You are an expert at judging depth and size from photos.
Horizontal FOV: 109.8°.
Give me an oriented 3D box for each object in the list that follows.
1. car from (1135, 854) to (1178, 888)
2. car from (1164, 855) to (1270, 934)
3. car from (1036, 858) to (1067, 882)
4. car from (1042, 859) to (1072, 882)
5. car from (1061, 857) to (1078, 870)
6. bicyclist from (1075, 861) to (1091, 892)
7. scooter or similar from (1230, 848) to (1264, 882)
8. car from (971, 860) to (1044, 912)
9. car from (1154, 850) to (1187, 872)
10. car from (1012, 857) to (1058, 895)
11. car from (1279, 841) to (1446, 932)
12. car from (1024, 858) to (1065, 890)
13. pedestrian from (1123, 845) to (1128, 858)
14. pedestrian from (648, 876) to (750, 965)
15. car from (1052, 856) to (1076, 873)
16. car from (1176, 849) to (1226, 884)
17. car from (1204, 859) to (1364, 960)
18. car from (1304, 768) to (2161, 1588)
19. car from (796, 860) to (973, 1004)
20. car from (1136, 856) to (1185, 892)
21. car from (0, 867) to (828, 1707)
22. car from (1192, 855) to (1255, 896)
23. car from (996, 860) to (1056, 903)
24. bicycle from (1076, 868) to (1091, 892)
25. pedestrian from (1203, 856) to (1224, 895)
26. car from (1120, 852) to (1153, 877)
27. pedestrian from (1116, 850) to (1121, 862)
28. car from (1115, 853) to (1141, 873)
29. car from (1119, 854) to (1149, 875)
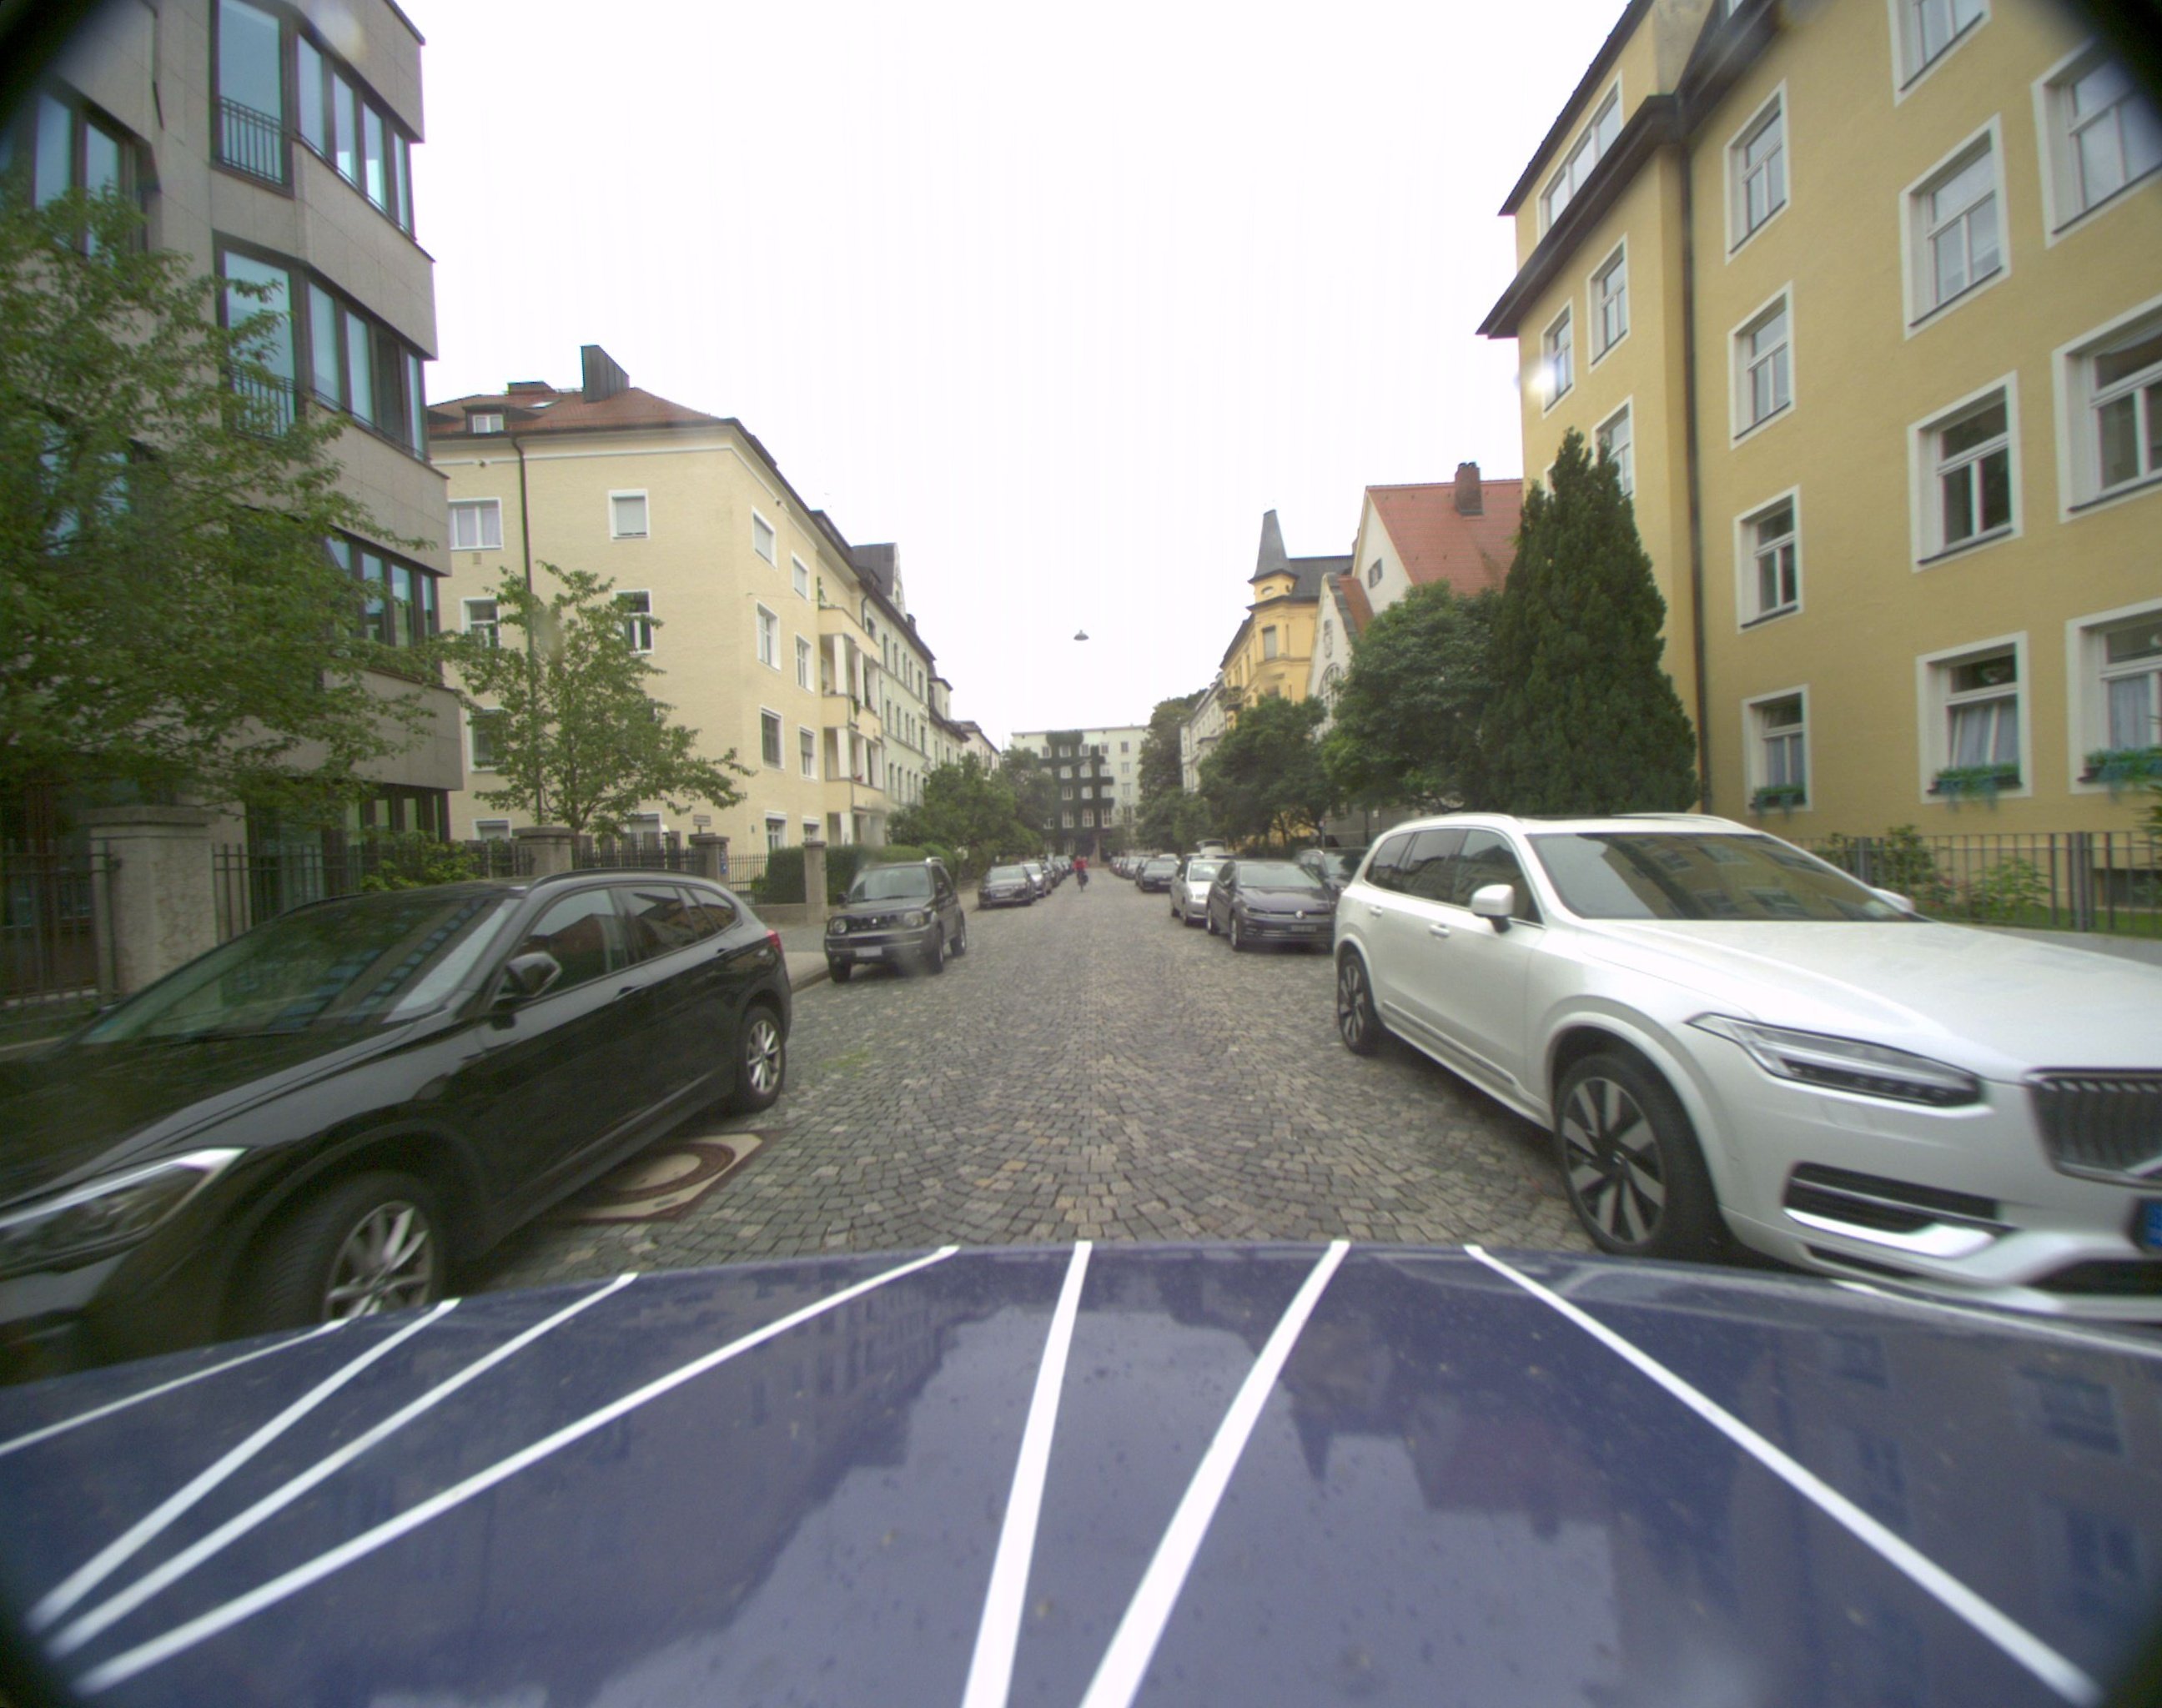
[{"bbox_3d":[3.732,0.814,38.359,1.744,1.594,4.537,-1,0,0],"label":"car"},{"bbox_3d":[2.993,0.825,17.600,1.718,1.553,4.390,-1,0,1],"label":"car"},{"bbox_3d":[-2.029,1.118,53.921,1.760,1.451,4.480,-5,0,2],"label":"car"},{"bbox_3d":[-1.832,1.227,59.597,1.909,1.494,5.105,-5,0,2],"label":"car"},{"bbox_3d":[-1.275,1.043,85.646,1.744,1.367,4.182,-1,0,1],"label":"car"},{"bbox_3d":[0.108,1.021,34.939,0.648,1.350,0.656,-4,1,0],"label":"bicyclist"},{"bbox_3d":[8.011,0.506,36.786,1.064,1.514,2.635,-2,0,1],"label":"scooter or similar"},{"bbox_3d":[-2.606,1.100,28.175,1.998,1.543,5.014,-5,0,1],"label":"car"},{"bbox_3d":[6.392,0.482,54.791,1.846,1.457,4.389,-4,0,1],"label":"car"},{"bbox_3d":[-2.238,1.076,38.332,1.898,1.644,4.294,-4,0,1],"label":"car"},{"bbox_3d":[5.619,0.578,15.875,1.719,1.489,4.721,-5,0,1],"label":"car"},{"bbox_3d":[-2.036,1.096,43.533,1.823,1.480,5.050,-5,0,2],"label":"car"},{"bbox_3d":[6.870,-0.341,117.242,0.665,1.905,0.863,-4,1,9],"label":"pedestrian"},{"bbox_3d":[-6.783,1.160,13.567,1.219,1.484,1.129,0,1,3],"label":"pedestrian"},{"bbox_3d":[-1.612,1.026,74.916,1.942,1.457,4.533,-4,0,3],"label":"car"},{"bbox_3d":[5.983,0.584,38.380,1.744,1.527,4.467,-4,0,0],"label":"car"},{"bbox_3d":[3.252,0.822,12.957,1.734,1.410,3.936,0,0,1],"label":"car"},{"bbox_3d":[2.929,0.699,4.227,2.011,1.798,5.175,-1,0,2],"label":"car"},{"bbox_3d":[-2.880,1.048,12.014,1.622,1.740,3.887,-5,0,0],"label":"car"},{"bbox_3d":[3.420,0.816,33.324,1.819,1.447,4.913,0,0,2],"label":"car"},{"bbox_3d":[-3.031,1.034,3.521,1.865,1.692,4.813,-5,0,1],"label":"car"},{"bbox_3d":[5.760,0.834,31.227,1.780,1.408,4.561,-4,0,2],"label":"car"},{"bbox_3d":[-2.335,1.138,33.390,1.998,1.543,4.986,-4,0,2],"label":"car"},{"bbox_3d":[0.121,1.185,35.001,0.636,1.021,1.955,-3,1,1],"label":"bicycle"},{"bbox_3d":[5.849,0.939,33.487,0.767,1.640,0.582,-3,1,2],"label":"pedestrian"},{"bbox_3d":[3.736,0.660,51.421,1.744,1.576,4.191,-1,0,-2],"label":"car"},{"bbox_3d":[5.765,0.326,117.375,0.701,1.905,0.863,-4,1,4],"label":"pedestrian"},{"bbox_3d":[3.898,0.725,63.441,1.846,1.576,4.192,-1,0,0],"label":"car"},{"bbox_3d":[3.956,0.785,57.654,1.875,1.461,5.133,-1,0,0],"label":"car"}]
